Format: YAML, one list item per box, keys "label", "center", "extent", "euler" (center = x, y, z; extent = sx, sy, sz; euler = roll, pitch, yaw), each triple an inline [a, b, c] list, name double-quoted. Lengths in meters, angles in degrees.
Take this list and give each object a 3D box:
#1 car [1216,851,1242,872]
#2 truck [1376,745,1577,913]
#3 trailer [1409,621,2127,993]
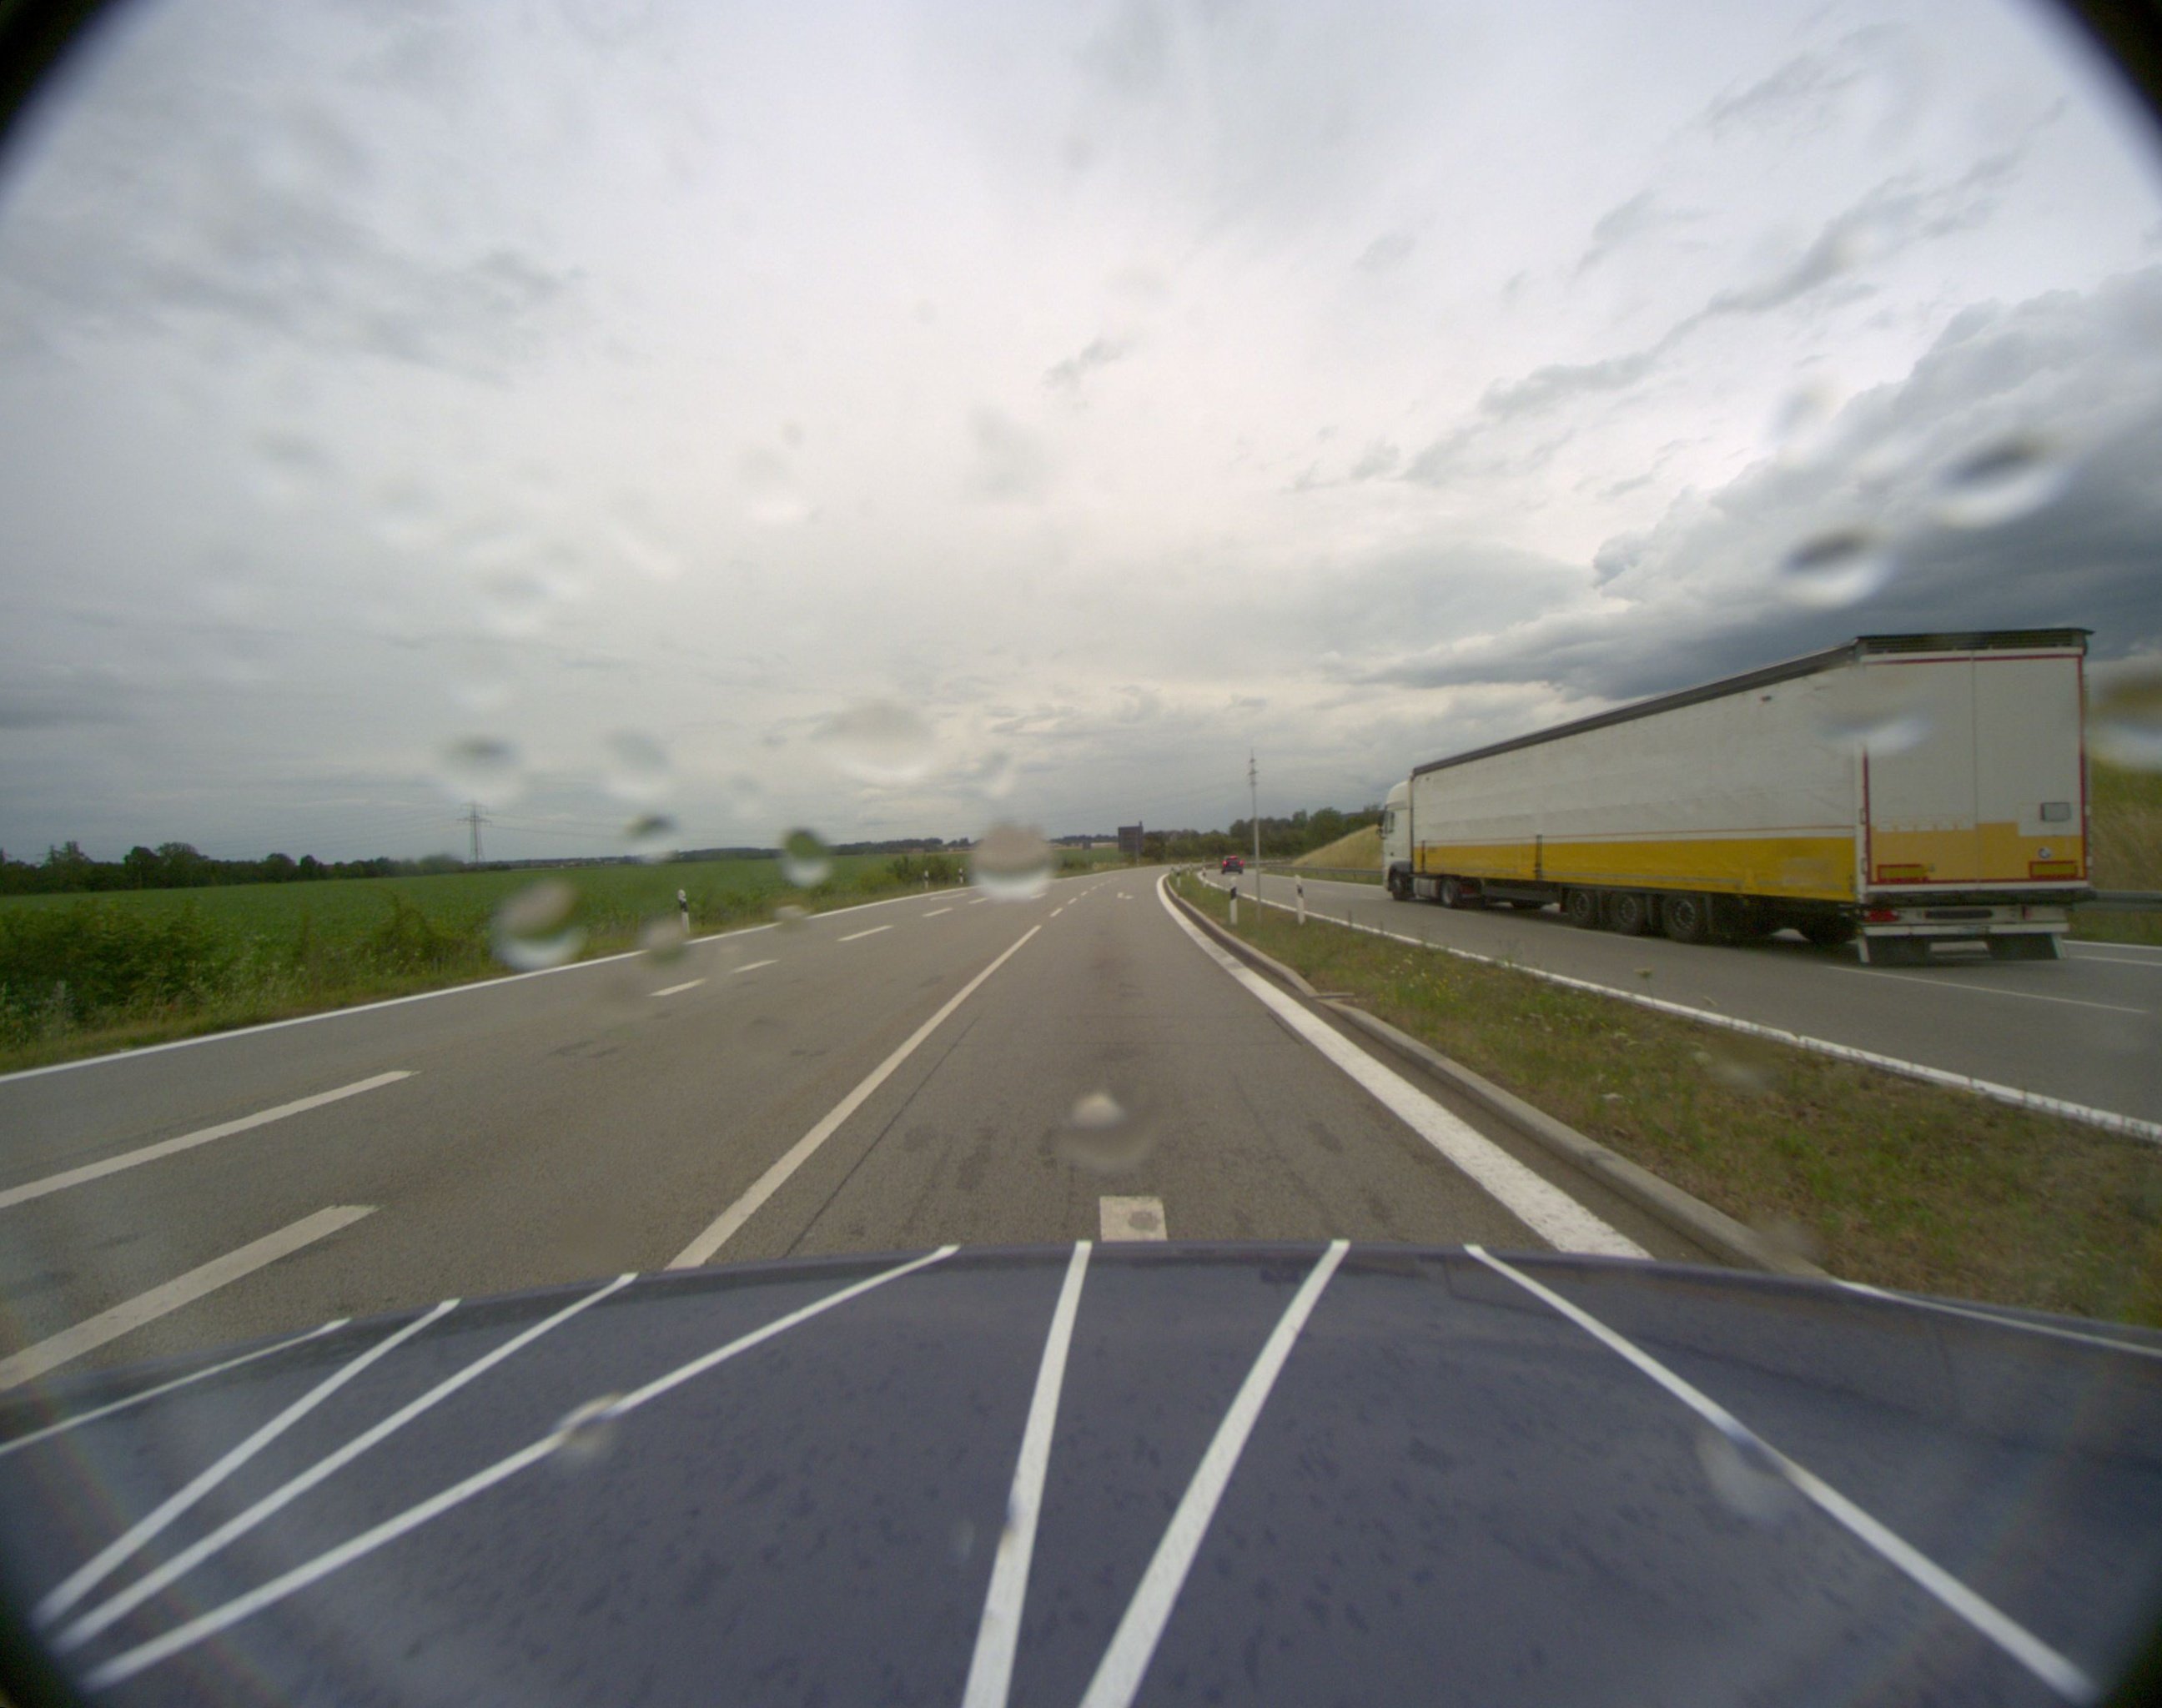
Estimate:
- label: "car"
  center: [13.231, 0.637, 68.184]
  extent: [1.997, 1.674, 4.115]
  euler: [-2, 1, 7]
- label: "truck"
  center: [11.169, -0.650, 22.255]
  extent: [2.656, 4.117, 6.403]
  euler: [-2, 1, 2]
- label: "trailer"
  center: [10.910, -0.606, 15.683]
  extent: [2.698, 4.186, 13.841]
  euler: [-2, 1, 2]
